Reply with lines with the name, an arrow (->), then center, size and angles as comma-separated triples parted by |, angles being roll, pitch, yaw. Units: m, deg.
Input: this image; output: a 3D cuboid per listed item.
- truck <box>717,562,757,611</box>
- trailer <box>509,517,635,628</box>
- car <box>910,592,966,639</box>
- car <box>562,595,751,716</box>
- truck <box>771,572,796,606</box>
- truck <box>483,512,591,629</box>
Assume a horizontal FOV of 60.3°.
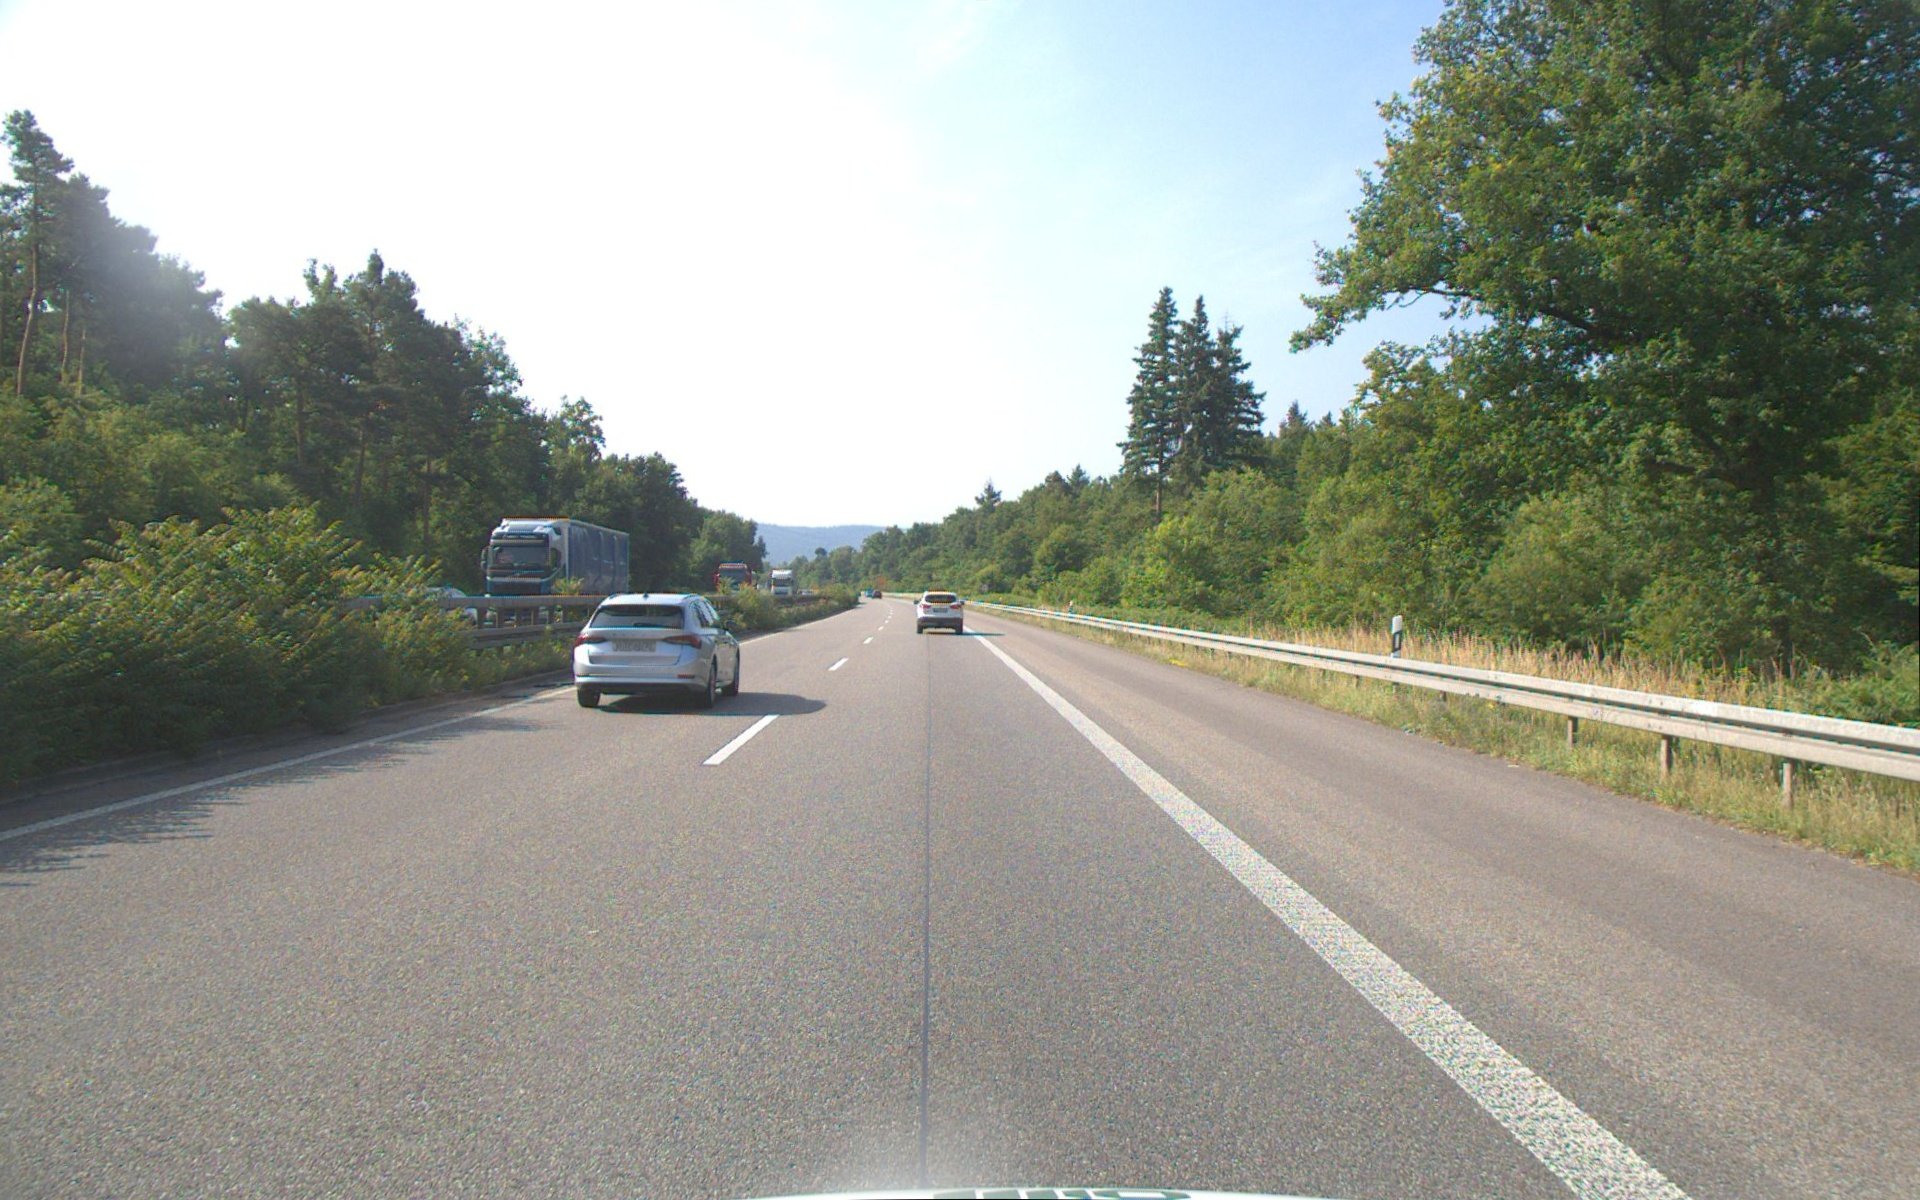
truck -> -19.170, -1.139, 142.575 | 3.204, 4.110, 6.224 | 1, 0, -7
trailer -> -16.311, -1.092, 70.538 | 2.637, 4.274, 13.076 | 0, 0, -2
car -> -0.886, 0.572, 63.895 | 1.837, 1.614, 3.997 | 3, 0, -4
car -> -4.036, 0.670, 22.815 | 1.756, 1.463, 5.277 | 0, 0, -1
truck -> -22.203, -1.338, 208.539 | 2.781, 4.269, 5.543 | 0, 0, -3
truck -> -16.131, -1.083, 63.477 | 2.654, 4.274, 6.291 | 0, 0, -2
